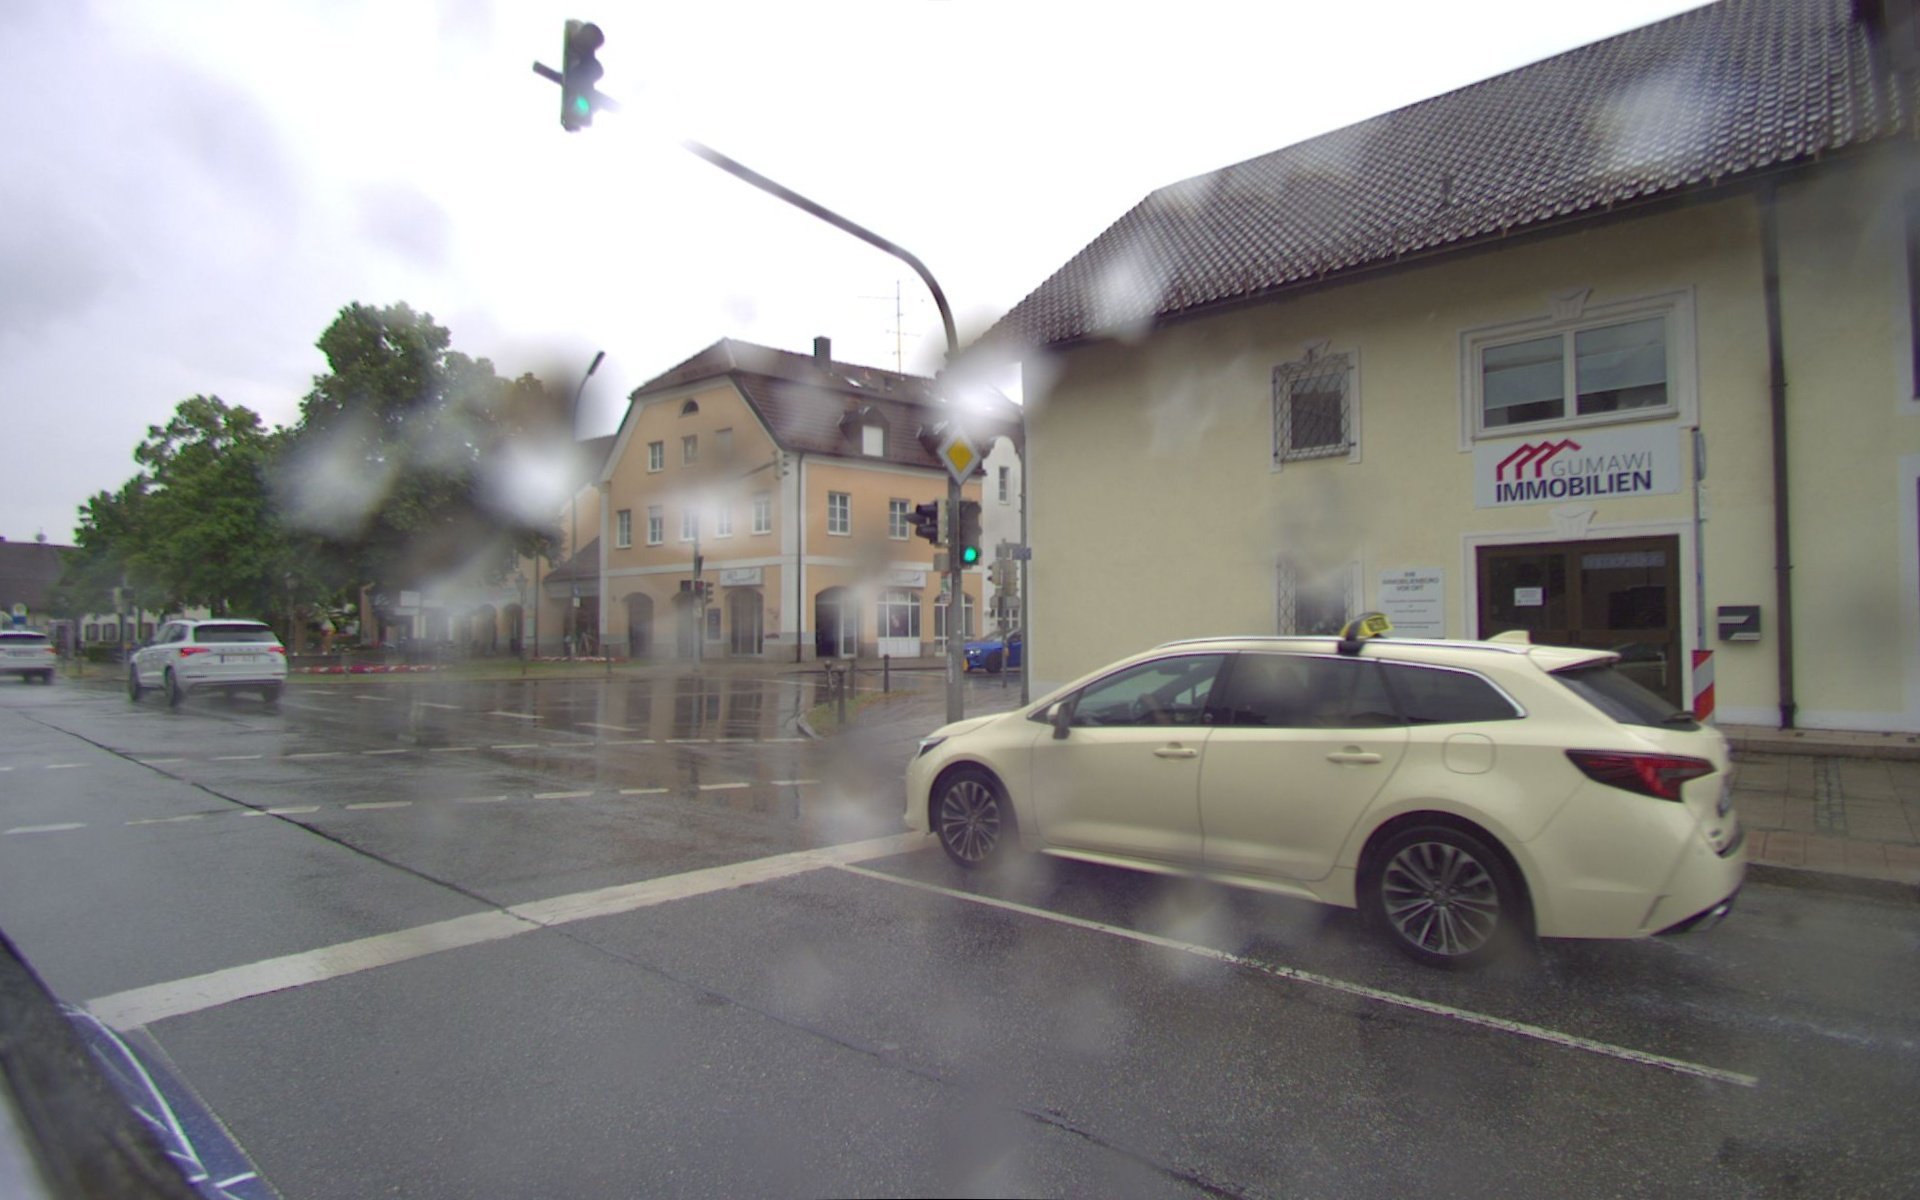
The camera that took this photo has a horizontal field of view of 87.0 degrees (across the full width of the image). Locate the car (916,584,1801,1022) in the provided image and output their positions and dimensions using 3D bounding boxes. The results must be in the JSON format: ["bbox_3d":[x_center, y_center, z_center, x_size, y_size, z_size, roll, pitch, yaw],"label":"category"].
[{"bbox_3d":[1.868,0.786,5.622,4.229,1.523,1.733,-2,-4,42],"label":"car"}]

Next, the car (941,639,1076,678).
[{"bbox_3d":[1.631,1.882,33.256,4.288,1.194,1.693,1,-2,-35],"label":"car"}]

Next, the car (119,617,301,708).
[{"bbox_3d":[-14.621,1.151,19.662,4.122,1.578,1.907,-2,-3,40],"label":"car"}]

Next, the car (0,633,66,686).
[{"bbox_3d":[-30.075,1.831,31.976,4.145,1.575,1.948,-1,-3,38],"label":"car"}]
